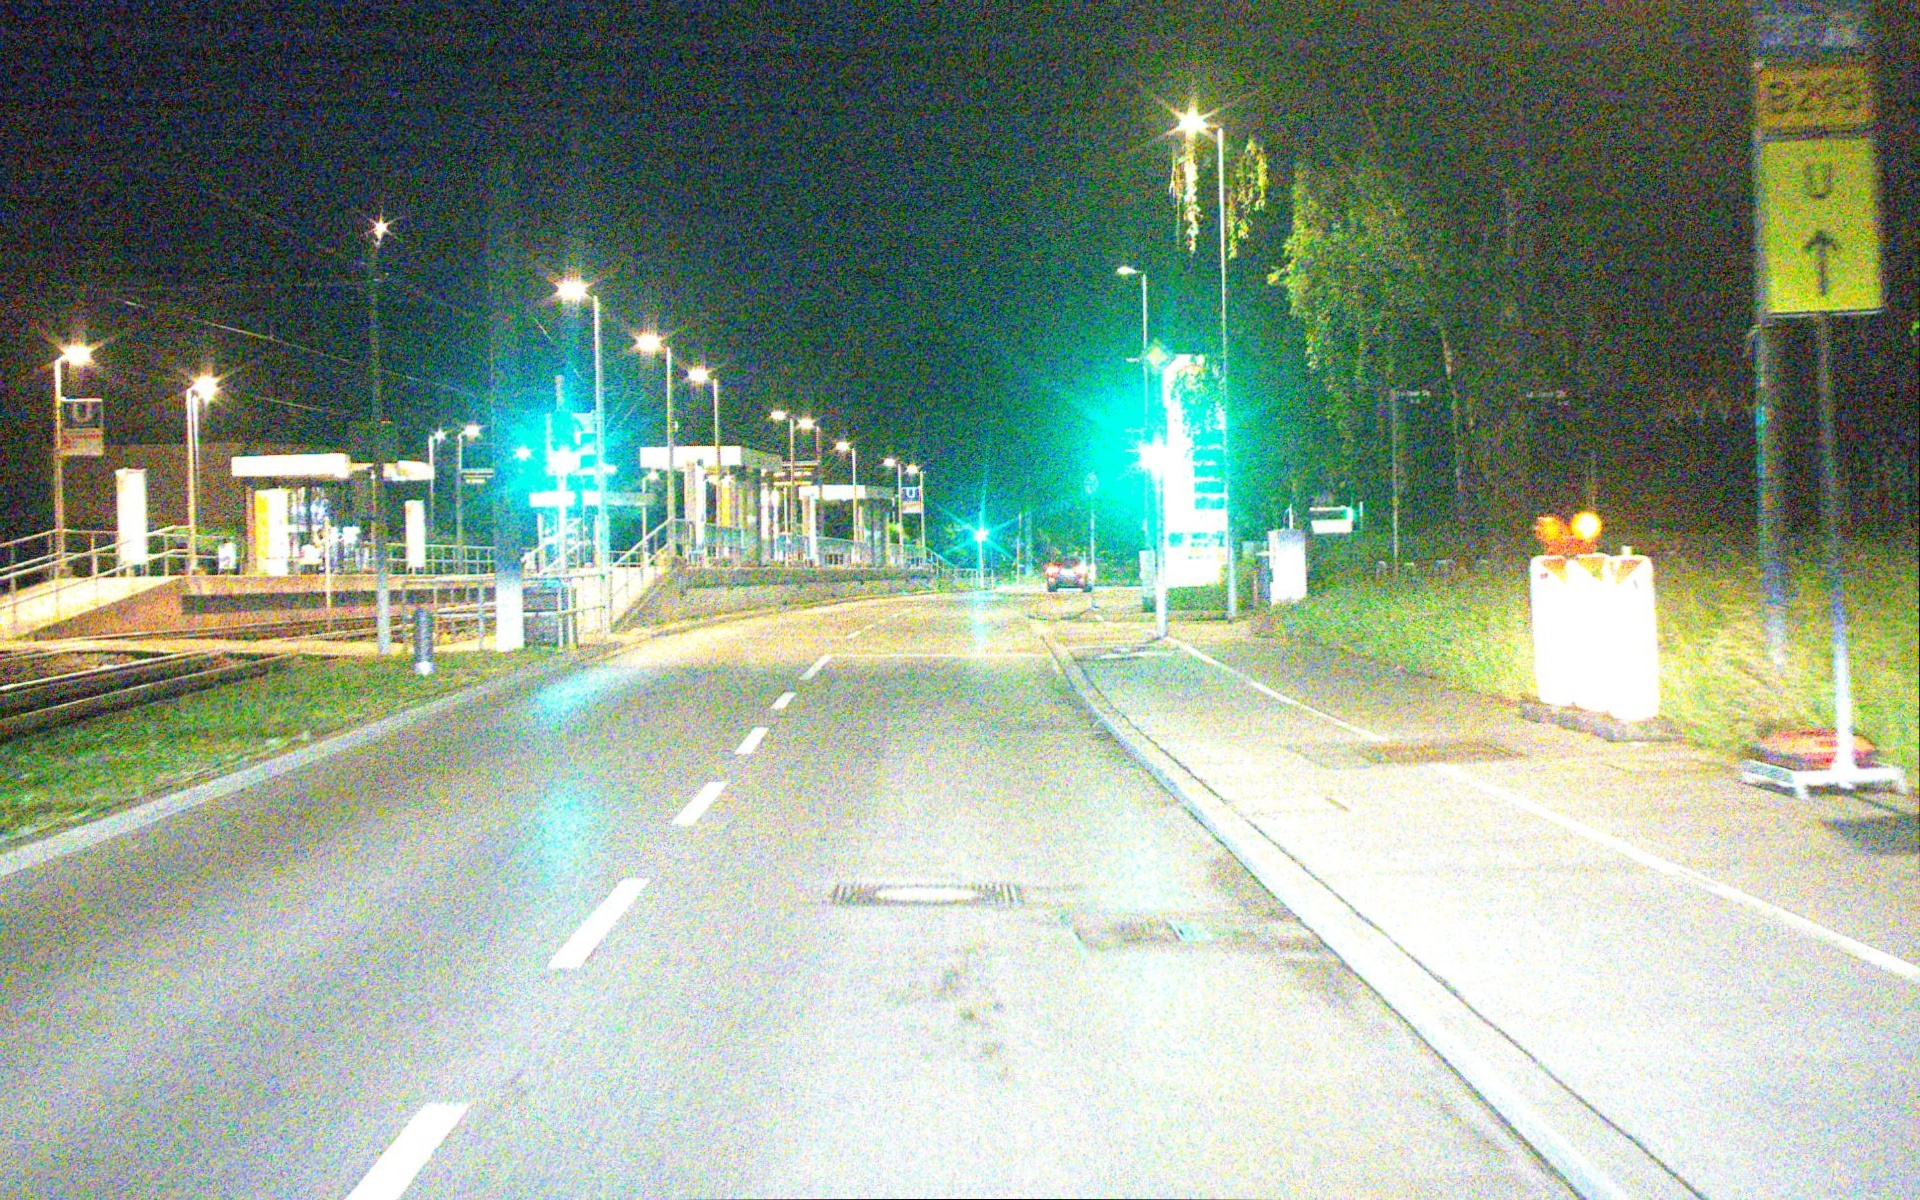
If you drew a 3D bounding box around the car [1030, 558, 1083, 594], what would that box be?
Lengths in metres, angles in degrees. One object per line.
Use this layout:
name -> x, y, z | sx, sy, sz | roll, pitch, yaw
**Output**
car -> 4.326, -1.073, 153.177 | 2.162, 1.577, 4.013 | 1, 0, 4
